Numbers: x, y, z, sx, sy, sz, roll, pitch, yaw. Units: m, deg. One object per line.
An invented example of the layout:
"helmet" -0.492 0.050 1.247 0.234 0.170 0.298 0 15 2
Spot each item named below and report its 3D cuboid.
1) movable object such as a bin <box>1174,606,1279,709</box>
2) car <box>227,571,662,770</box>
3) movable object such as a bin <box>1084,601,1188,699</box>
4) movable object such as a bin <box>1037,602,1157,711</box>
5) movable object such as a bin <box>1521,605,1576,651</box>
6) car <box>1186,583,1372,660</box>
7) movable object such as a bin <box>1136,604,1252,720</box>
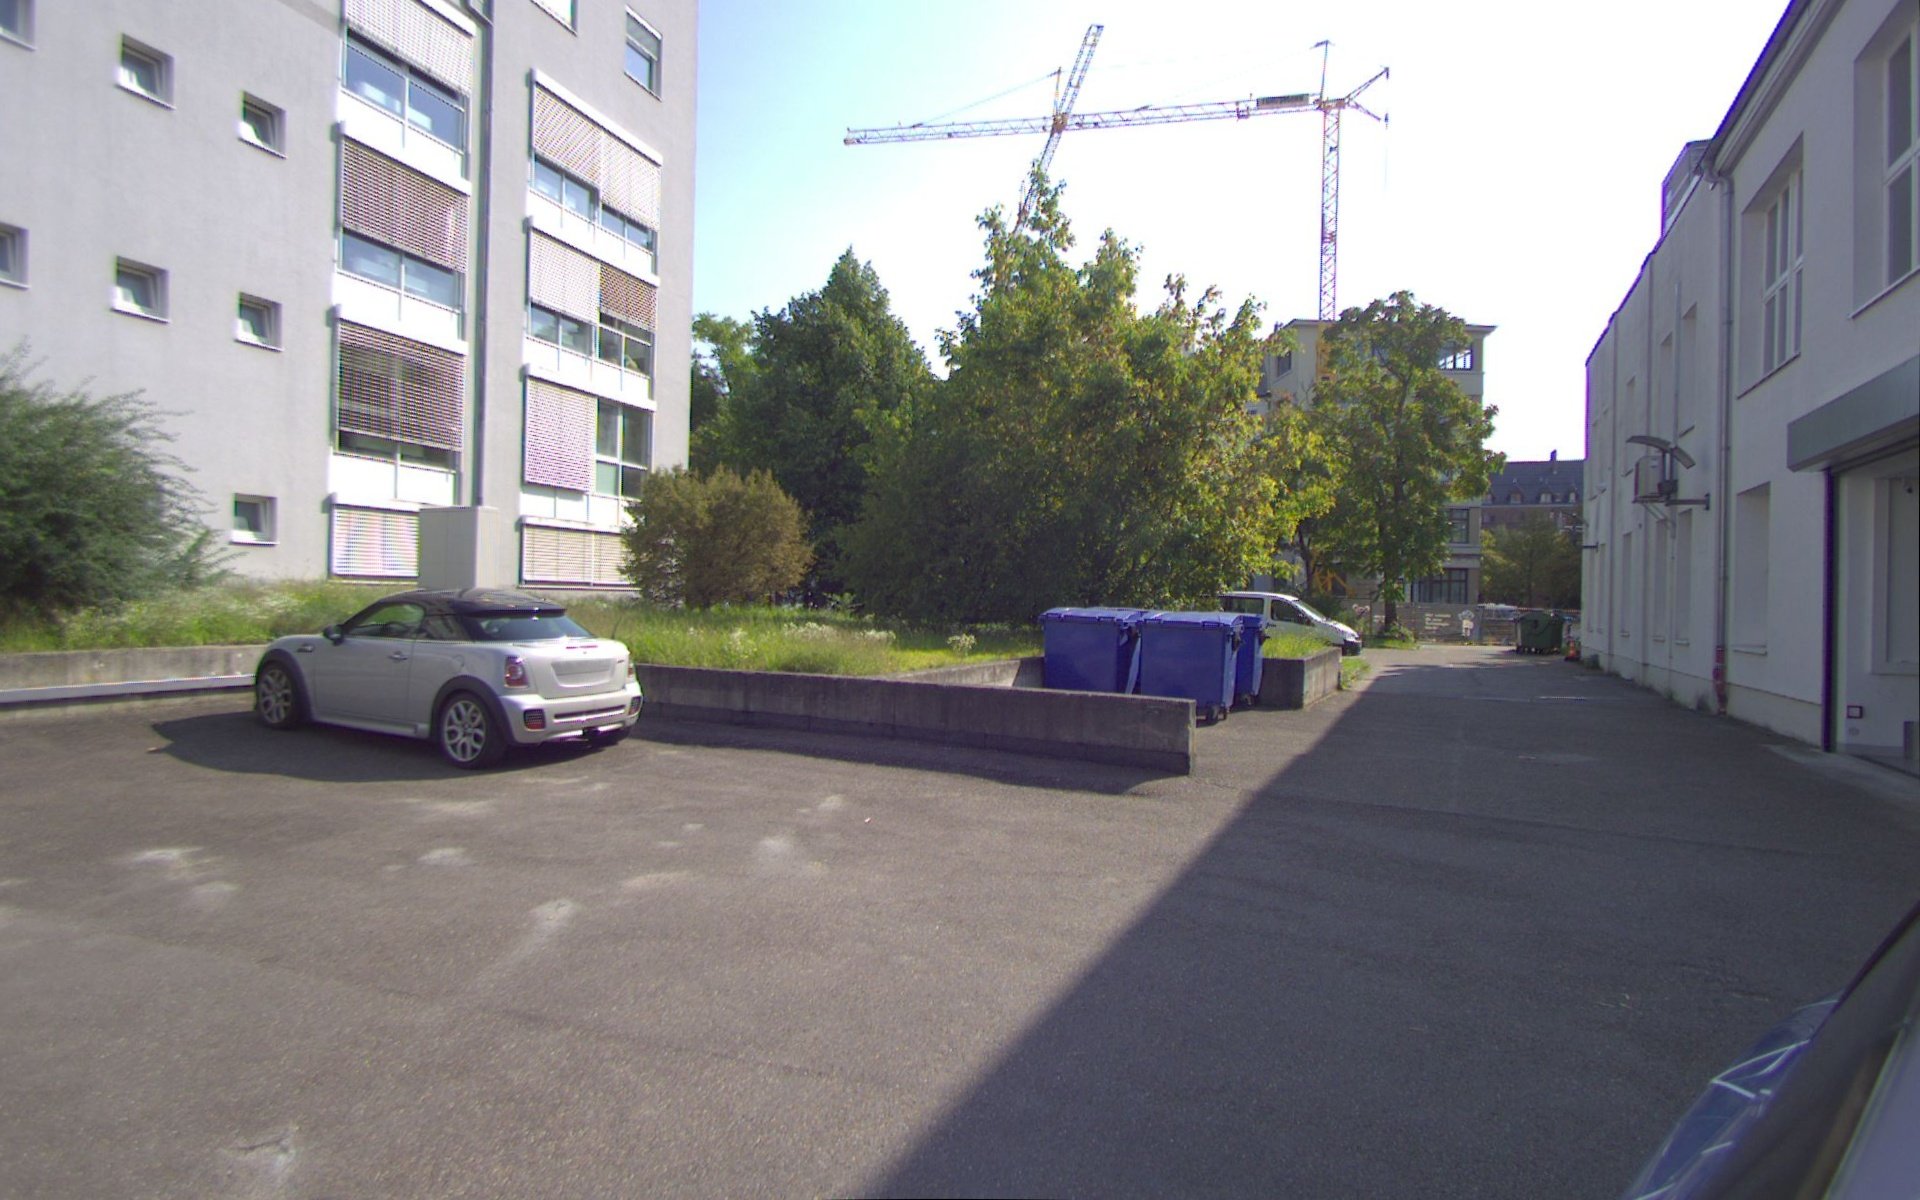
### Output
"movable object such as a bin" 3.787 0.768 14.317 1.189 1.344 1.263 1 0 27
"car" -4.668 0.526 9.176 3.543 1.456 1.645 2 0 24
"movable object such as a bin" 2.618 0.703 14.998 1.189 1.344 1.263 1 0 27
"movable object such as a bin" 1.866 0.715 13.613 1.246 1.344 1.263 1 0 27
"movable object such as a bin" 19.670 0.911 33.862 1.511 1.484 1.263 1 0 27
"car" 9.057 0.557 28.799 4.752 1.956 1.889 2 0 29
"movable object such as a bin" 3.011 0.752 12.950 1.202 1.368 1.264 1 0 25
